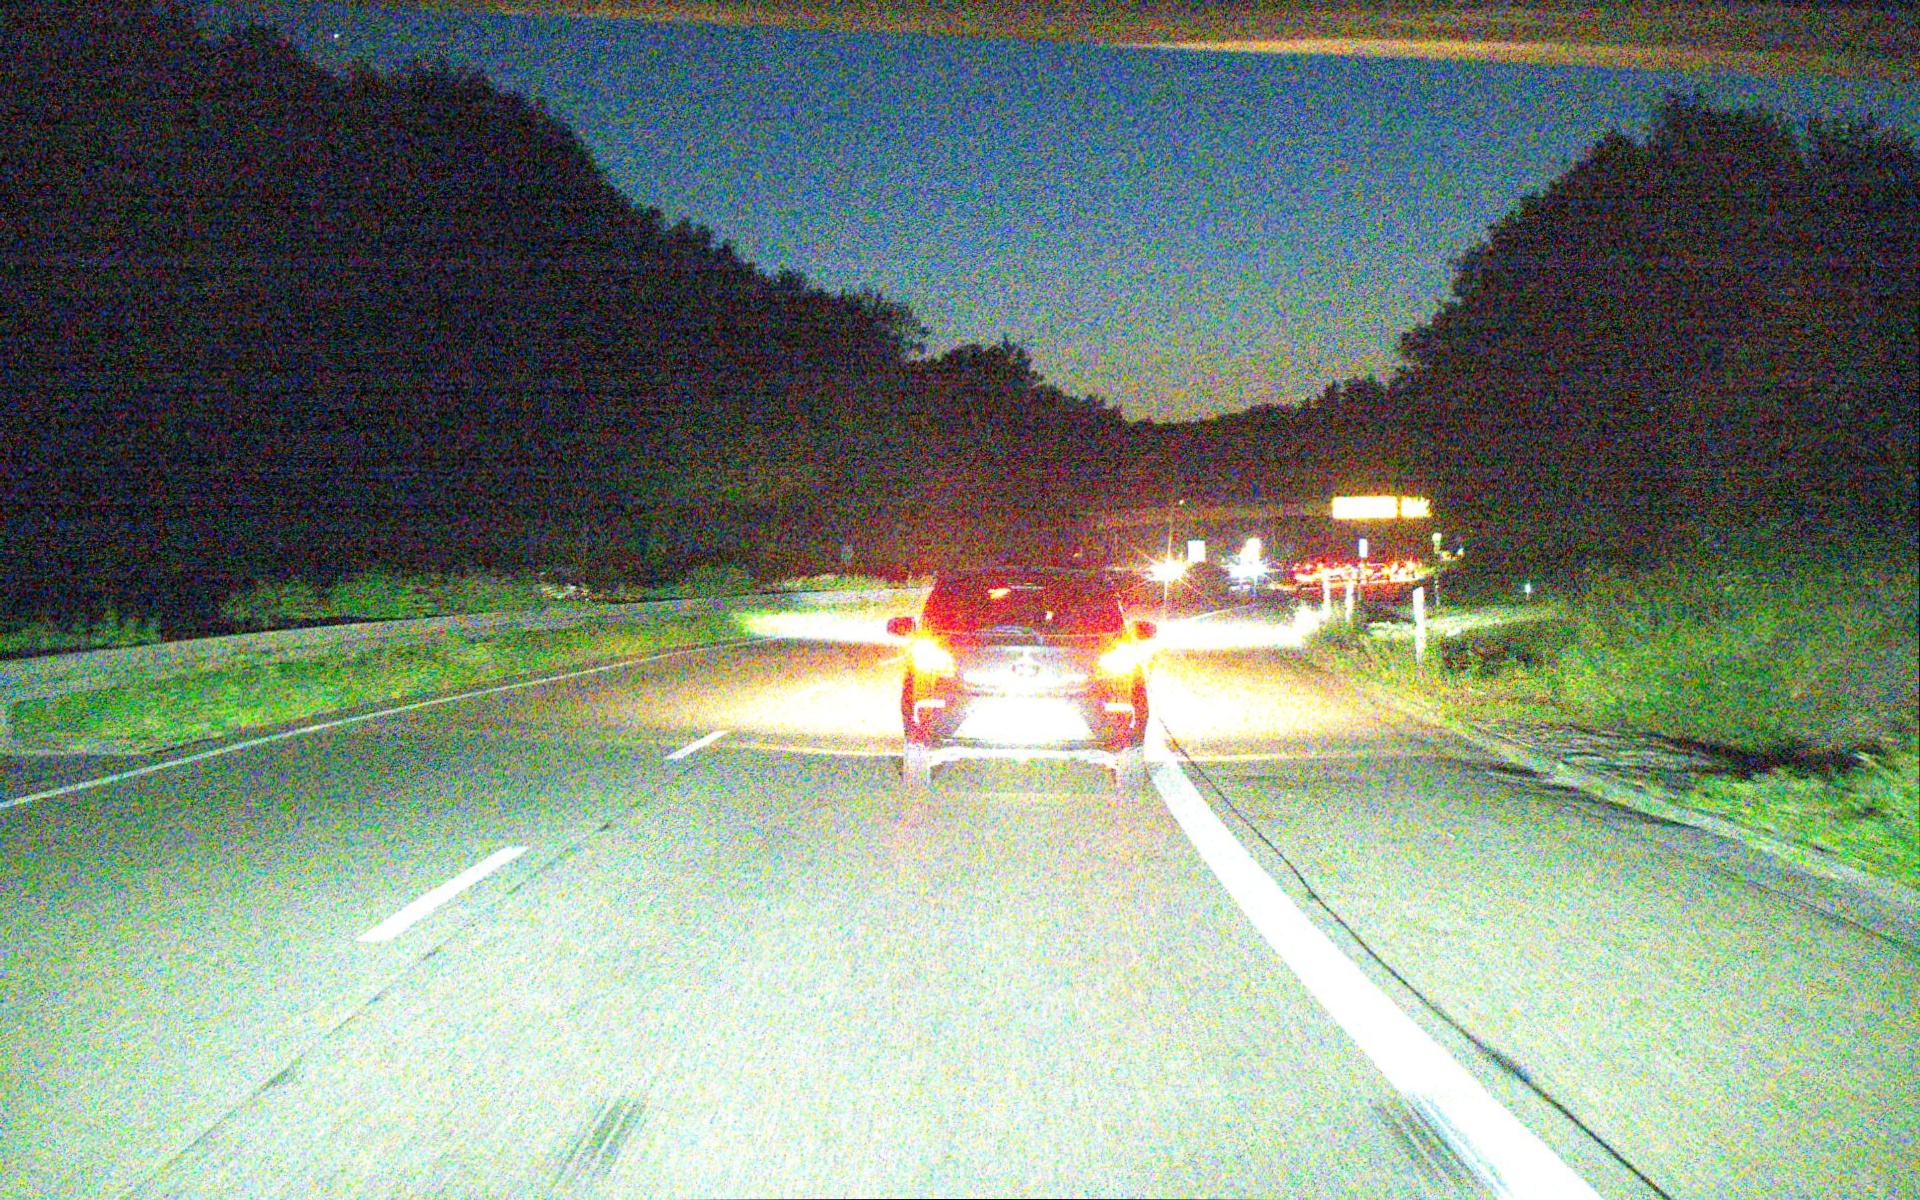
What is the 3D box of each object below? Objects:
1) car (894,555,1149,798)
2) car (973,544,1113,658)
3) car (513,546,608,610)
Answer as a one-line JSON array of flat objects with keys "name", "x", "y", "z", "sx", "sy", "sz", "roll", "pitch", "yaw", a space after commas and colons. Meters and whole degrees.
[{"name": "car", "x": 0.378, "y": 0.461, "z": 23.898, "sx": 1.588, "sy": 1.503, "sz": 4.000, "roll": 1, "pitch": 1, "yaw": 0}, {"name": "car", "x": 1.330, "y": -0.021, "z": 53.427, "sx": 1.907, "sy": 1.692, "sz": 3.999, "roll": 0, "pitch": 1, "yaw": 5}, {"name": "car", "x": -10.735, "y": -0.592, "z": 92.625, "sx": 1.993, "sy": 1.652, "sz": 4.534, "roll": -1, "pitch": 0, "yaw": 0}]
